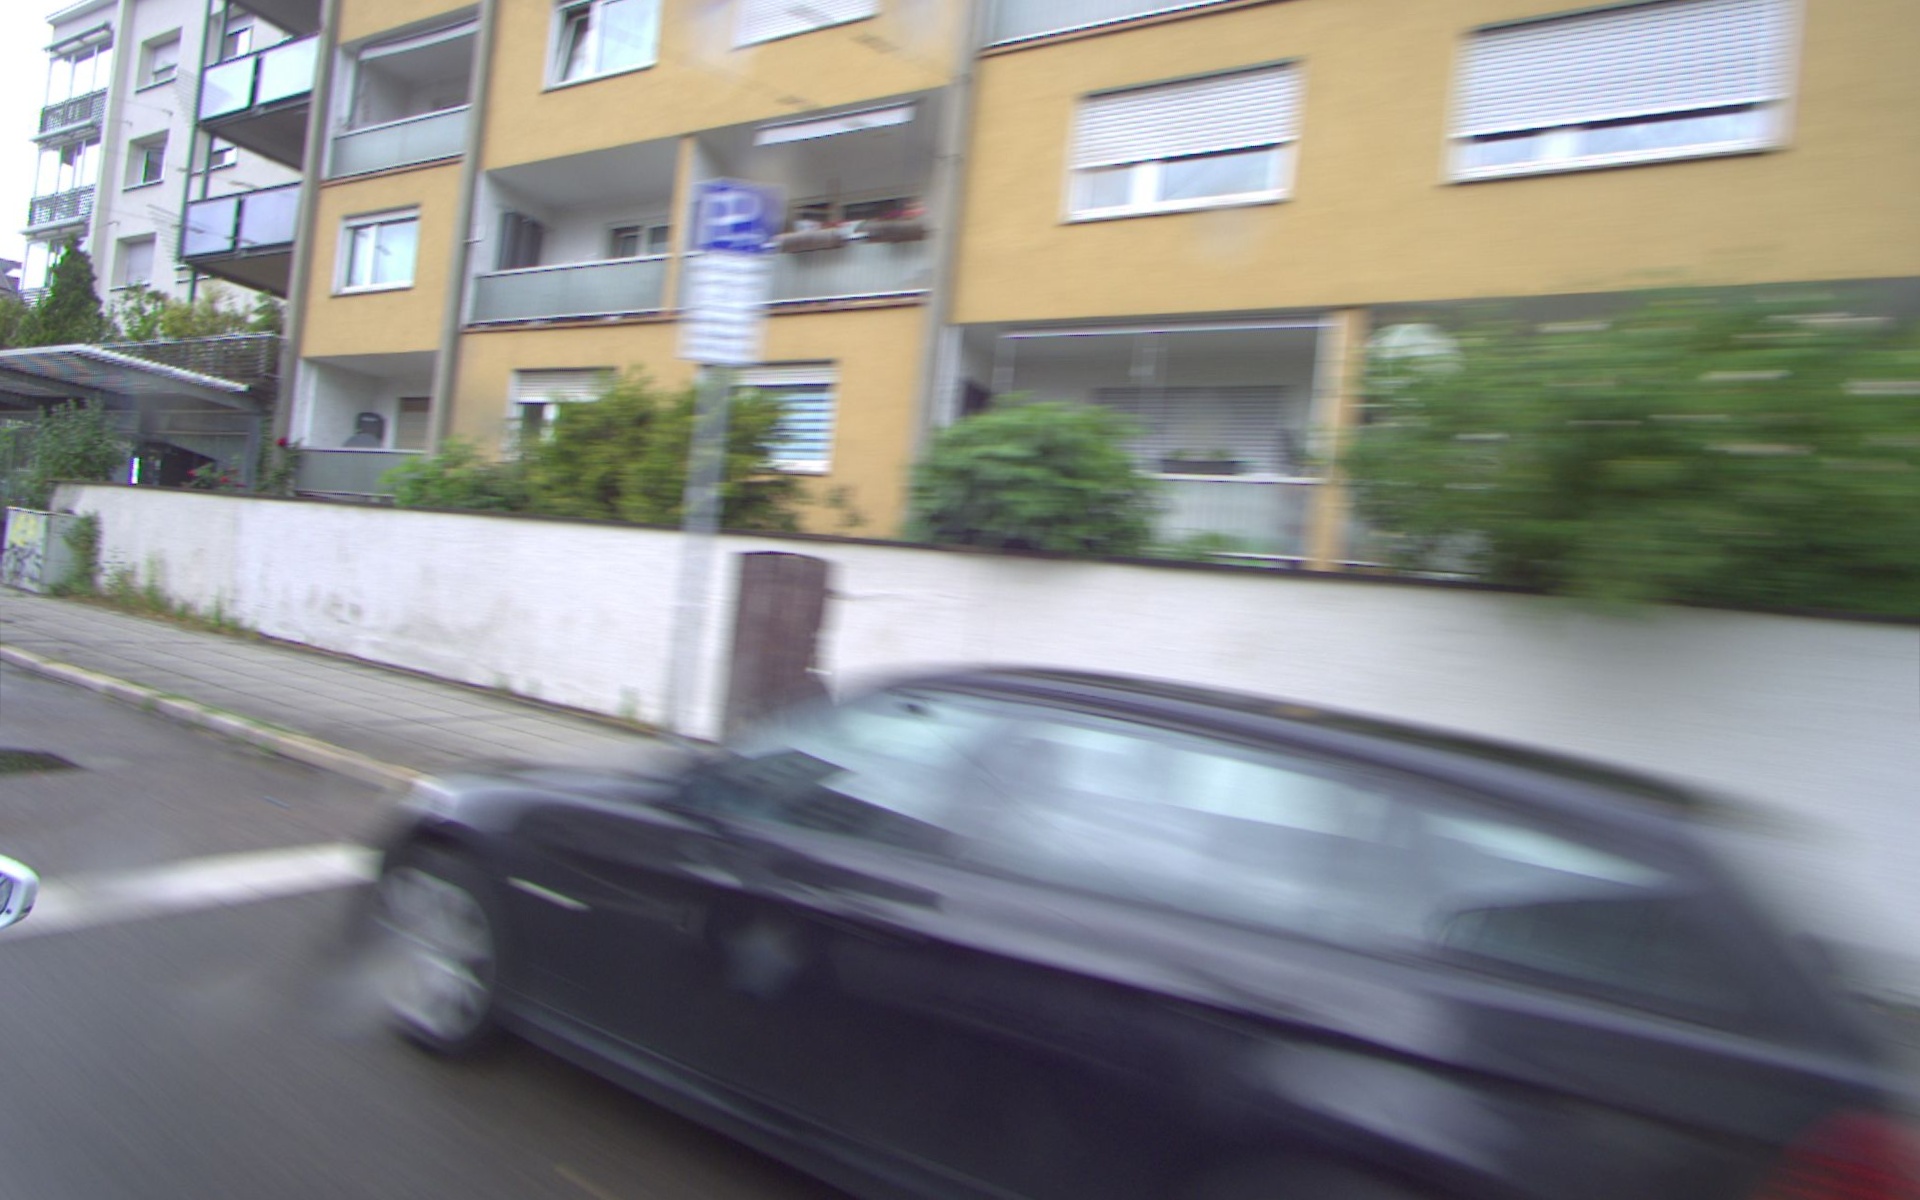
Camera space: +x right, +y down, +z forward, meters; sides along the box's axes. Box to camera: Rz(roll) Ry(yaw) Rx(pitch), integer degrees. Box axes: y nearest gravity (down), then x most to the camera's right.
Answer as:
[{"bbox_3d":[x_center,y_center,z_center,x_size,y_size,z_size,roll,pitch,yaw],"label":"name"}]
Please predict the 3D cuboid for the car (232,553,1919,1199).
[{"bbox_3d":[-0.035,0.829,3.085,4.401,1.476,1.735,5,-3,29],"label":"car"}]
